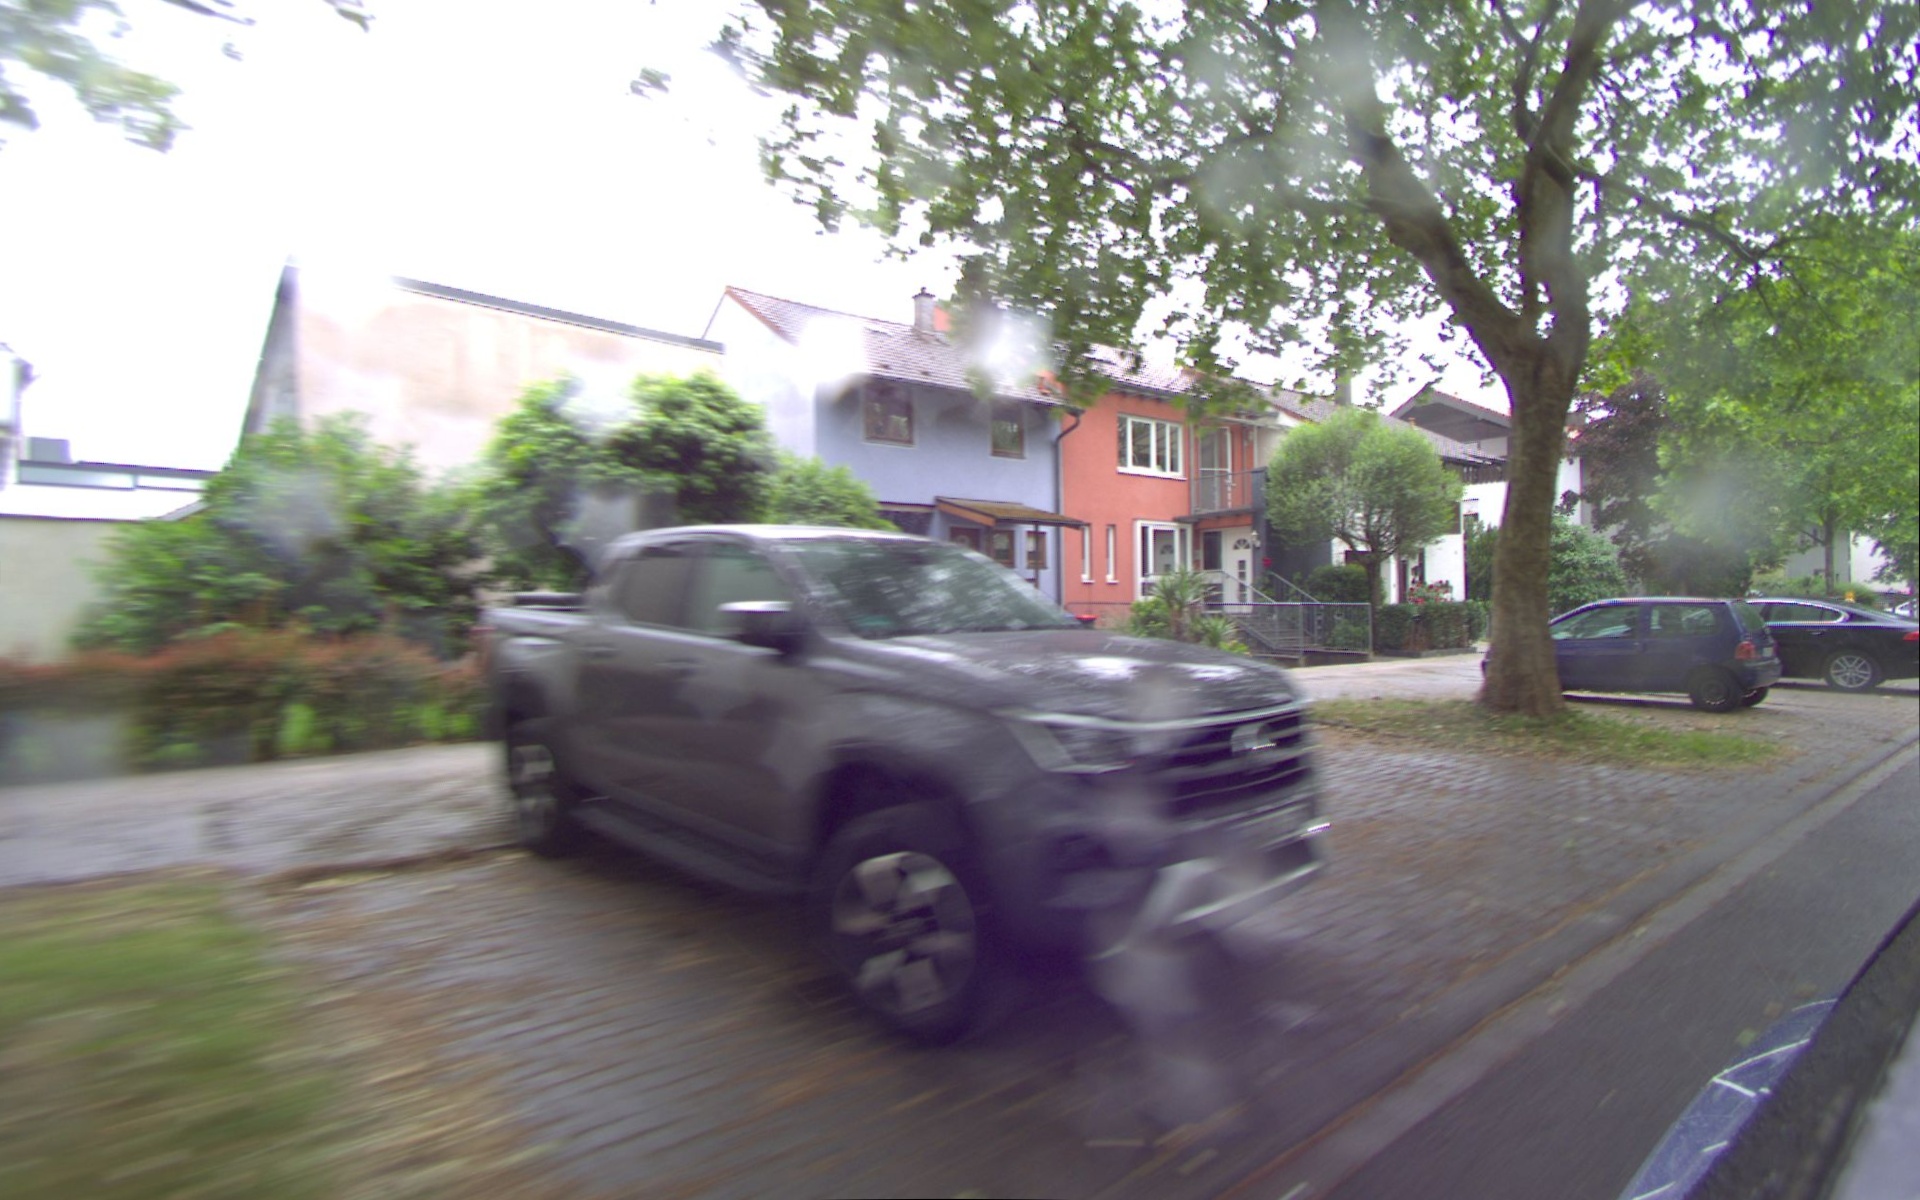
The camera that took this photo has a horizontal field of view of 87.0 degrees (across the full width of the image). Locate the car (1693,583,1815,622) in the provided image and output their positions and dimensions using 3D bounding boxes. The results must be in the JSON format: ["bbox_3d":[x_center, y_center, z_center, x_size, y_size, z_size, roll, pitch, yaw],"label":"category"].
[{"bbox_3d":[34.566,0.091,44.119,1.808,1.633,3.856,0,0,-36],"label":"car"}]

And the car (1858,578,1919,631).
[{"bbox_3d":[31.578,0.144,31.883,1.941,1.682,4.698,0,0,-40],"label":"car"}]

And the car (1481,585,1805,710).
[{"bbox_3d":[9.204,0.567,13.828,1.589,1.482,3.363,0,0,-39],"label":"car"}]

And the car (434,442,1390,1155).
[{"bbox_3d":[-0.848,0.480,5.158,1.815,1.829,5.341,0,1,-44],"label":"car"}]

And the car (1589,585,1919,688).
[{"bbox_3d":[13.347,0.510,16.665,1.904,1.491,4.772,0,0,-42],"label":"car"}]
